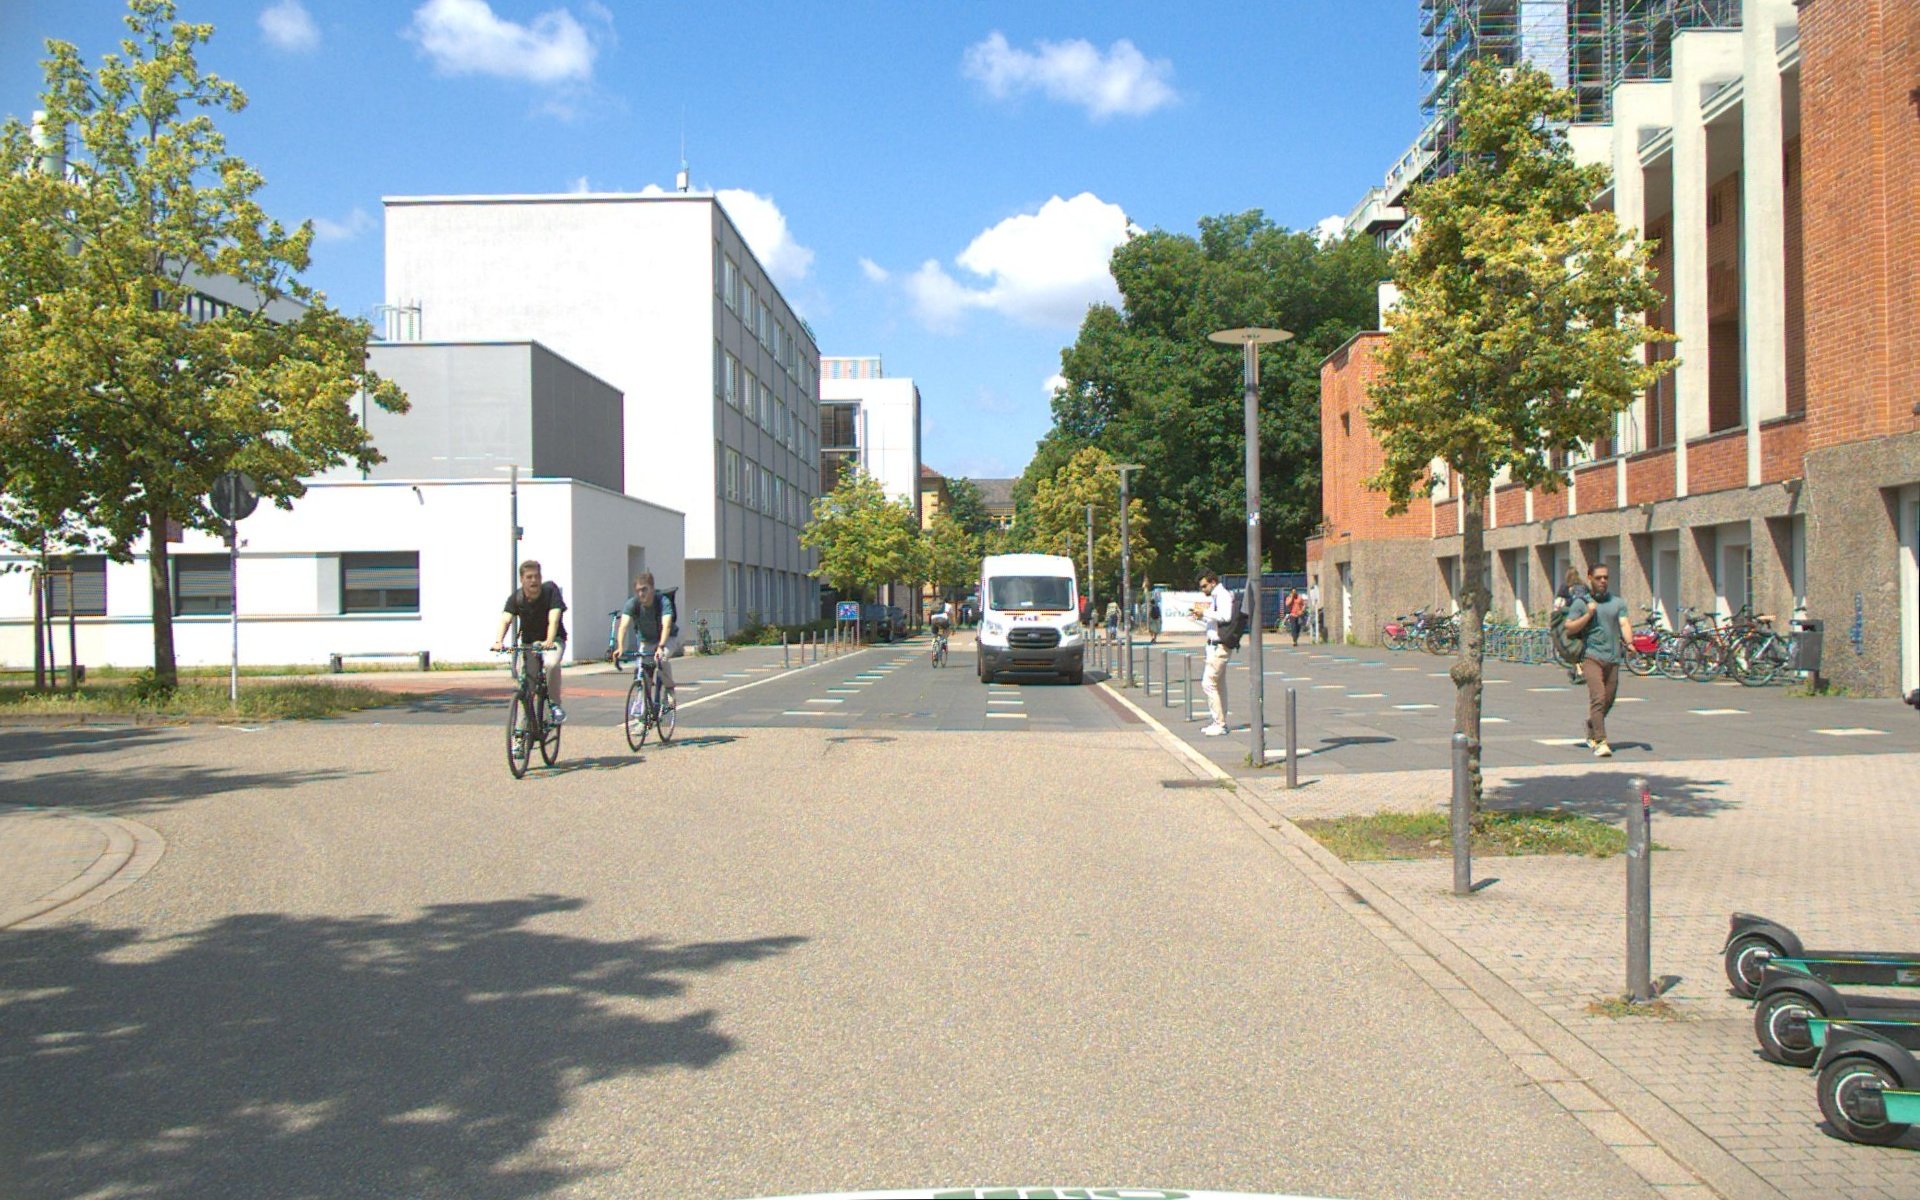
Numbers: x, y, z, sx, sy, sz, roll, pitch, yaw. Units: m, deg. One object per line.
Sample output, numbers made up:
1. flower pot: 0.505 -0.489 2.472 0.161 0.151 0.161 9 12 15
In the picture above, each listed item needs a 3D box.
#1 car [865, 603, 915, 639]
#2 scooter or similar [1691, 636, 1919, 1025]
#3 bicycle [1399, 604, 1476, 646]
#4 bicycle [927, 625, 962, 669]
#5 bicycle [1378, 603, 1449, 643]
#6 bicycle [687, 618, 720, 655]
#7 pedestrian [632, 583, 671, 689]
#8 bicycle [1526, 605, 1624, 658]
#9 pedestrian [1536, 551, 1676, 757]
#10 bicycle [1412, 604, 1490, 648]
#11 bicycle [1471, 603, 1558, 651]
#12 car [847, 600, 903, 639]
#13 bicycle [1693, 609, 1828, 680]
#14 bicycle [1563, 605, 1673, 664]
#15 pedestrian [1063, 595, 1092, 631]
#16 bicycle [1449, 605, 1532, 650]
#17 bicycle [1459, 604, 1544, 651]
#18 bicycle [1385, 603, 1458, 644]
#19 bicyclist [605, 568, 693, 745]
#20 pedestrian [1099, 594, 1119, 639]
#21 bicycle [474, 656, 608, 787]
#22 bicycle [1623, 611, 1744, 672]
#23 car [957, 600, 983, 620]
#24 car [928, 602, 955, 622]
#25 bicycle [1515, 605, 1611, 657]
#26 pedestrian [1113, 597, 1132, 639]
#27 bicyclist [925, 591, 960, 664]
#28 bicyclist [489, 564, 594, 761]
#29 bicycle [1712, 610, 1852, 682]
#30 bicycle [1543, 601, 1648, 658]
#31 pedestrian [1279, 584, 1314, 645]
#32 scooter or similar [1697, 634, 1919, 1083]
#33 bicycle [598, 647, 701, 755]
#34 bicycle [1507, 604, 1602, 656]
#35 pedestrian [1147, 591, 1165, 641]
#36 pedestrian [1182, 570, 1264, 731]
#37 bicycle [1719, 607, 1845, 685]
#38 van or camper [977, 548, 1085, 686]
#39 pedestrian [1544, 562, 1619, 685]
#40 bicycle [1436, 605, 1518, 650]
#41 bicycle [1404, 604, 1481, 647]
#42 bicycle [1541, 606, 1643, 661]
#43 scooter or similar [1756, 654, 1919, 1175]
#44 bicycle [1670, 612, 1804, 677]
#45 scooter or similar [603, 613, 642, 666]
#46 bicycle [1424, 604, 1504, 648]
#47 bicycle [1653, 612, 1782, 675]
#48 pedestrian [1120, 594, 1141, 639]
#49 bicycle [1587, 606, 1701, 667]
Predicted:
1. car: -3.223 0.948 76.917 1.757 1.557 4.002 -1 0 5
2. scooter or similar: 3.328 0.780 5.866 1.238 1.287 0.638 -1 0 34
3. bicycle: 12.357 0.634 42.823 1.772 1.002 0.560 -3 0 1
4. bicycle: -0.379 1.137 40.573 0.692 1.010 1.912 0 0 4
5. bicycle: 12.492 0.636 45.557 1.772 1.002 0.560 -3 0 1
6. bicycle: -7.348 1.049 47.503 0.512 1.002 1.634 -2 0 5
7. pedestrian: -5.394 0.625 28.886 0.655 1.817 0.982 0 -2 -12
8. bicycle: 12.558 0.640 33.802 1.772 1.002 0.560 -3 0 1
9. pedestrian: 5.781 0.471 14.870 0.835 1.763 1.161 -1 0 4
10. bicycle: 12.327 0.653 41.553 1.772 1.002 0.560 -3 0 1
11. bicycle: 12.789 0.619 38.177 1.772 1.002 0.560 -3 0 1
12. car: -3.550 0.811 69.508 1.757 1.557 4.002 -1 0 5
13. bicycle: 12.108 0.669 25.027 1.747 0.995 0.560 -2 0 0
14. bicycle: 12.174 0.635 30.606 1.772 1.002 0.560 -3 0 1
15. pedestrian: 7.012 0.751 98.519 1.469 2.030 1.646 -4 0 0
16. bicycle: 12.629 0.649 39.379 1.772 1.002 0.560 -3 0 1
17. bicycle: 12.696 0.644 38.790 1.772 1.002 0.560 -3 0 1
18. bicycle: 12.443 0.632 44.595 1.772 1.002 0.560 -3 0 1
19. bicyclist: -3.137 0.553 16.739 0.653 1.711 0.992 -2 0 -1
20. pedestrian: 6.414 0.716 71.394 0.773 1.892 1.243 -1 0 3
21. bicycle: -3.593 1.015 14.334 0.663 0.981 2.003 1 0 -1
22. bicycle: 12.192 0.697 27.893 1.772 0.928 0.560 -3 0 1
23. car: 0.864 0.811 135.208 1.757 1.557 4.002 -1 0 5
24. car: -1.488 0.970 136.148 1.757 1.557 4.002 -1 0 5
25. bicycle: 12.537 0.637 34.405 1.772 1.002 0.560 -3 0 1
26. pedestrian: 7.369 0.804 74.995 0.773 1.892 1.026 -1 0 3
27. bicyclist: -0.415 0.659 40.429 0.702 1.691 1.096 -3 1 3
28. bicyclist: -3.622 0.523 14.356 0.630 1.629 0.909 -2 0 0
29. bicycle: 12.103 0.673 24.383 1.754 0.986 0.560 -2 0 1
30. bicycle: 12.140 0.567 31.619 1.772 1.002 0.560 -3 0 1
31. pedestrian: 10.628 0.464 52.241 0.834 1.892 1.116 -1 0 -1
32. scooter or similar: 2.991 0.756 5.060 1.238 1.287 0.649 -1 0 34
33. bicycle: -3.131 0.997 16.860 0.663 0.981 2.003 1 0 0
34. bicycle: 12.565 0.629 34.992 1.772 1.002 0.560 -3 0 1
35. pedestrian: 7.446 0.600 62.851 0.564 1.892 0.570 -1 0 -1
36. pedestrian: 2.946 0.558 18.587 0.688 1.724 0.962 -4 -1 2
37. bicycle: 11.798 0.650 23.757 1.503 1.051 0.560 -2 0 1
38. van or camper: 1.388 0.341 32.700 1.952 2.488 4.570 -1 -1 2
39. pedestrian: 9.890 0.370 26.360 0.773 1.892 1.117 -1 0 3
40. bicycle: 12.500 0.657 39.990 1.772 1.002 0.560 -3 0 1
41. bicycle: 12.324 0.644 42.259 1.772 1.002 0.560 -3 0 1
42. bicycle: 12.558 0.659 32.896 1.772 1.002 0.560 -3 0 1
43. scooter or similar: 2.805 0.796 4.290 1.238 1.287 0.649 -1 0 34
44. bicycle: 12.029 0.686 25.634 1.772 0.928 0.560 -2 0 1
45. scooter or similar: -8.175 0.949 40.066 0.370 1.237 1.206 -1 0 17
46. bicycle: 12.395 0.641 40.723 1.772 1.002 0.560 -3 0 1
47. bicycle: 12.125 0.693 26.489 1.772 0.928 0.560 -2 0 1
48. pedestrian: 7.327 0.692 71.175 0.773 1.892 1.026 -1 0 3
49. bicycle: 12.250 0.642 29.656 1.772 1.002 0.560 -3 0 1
